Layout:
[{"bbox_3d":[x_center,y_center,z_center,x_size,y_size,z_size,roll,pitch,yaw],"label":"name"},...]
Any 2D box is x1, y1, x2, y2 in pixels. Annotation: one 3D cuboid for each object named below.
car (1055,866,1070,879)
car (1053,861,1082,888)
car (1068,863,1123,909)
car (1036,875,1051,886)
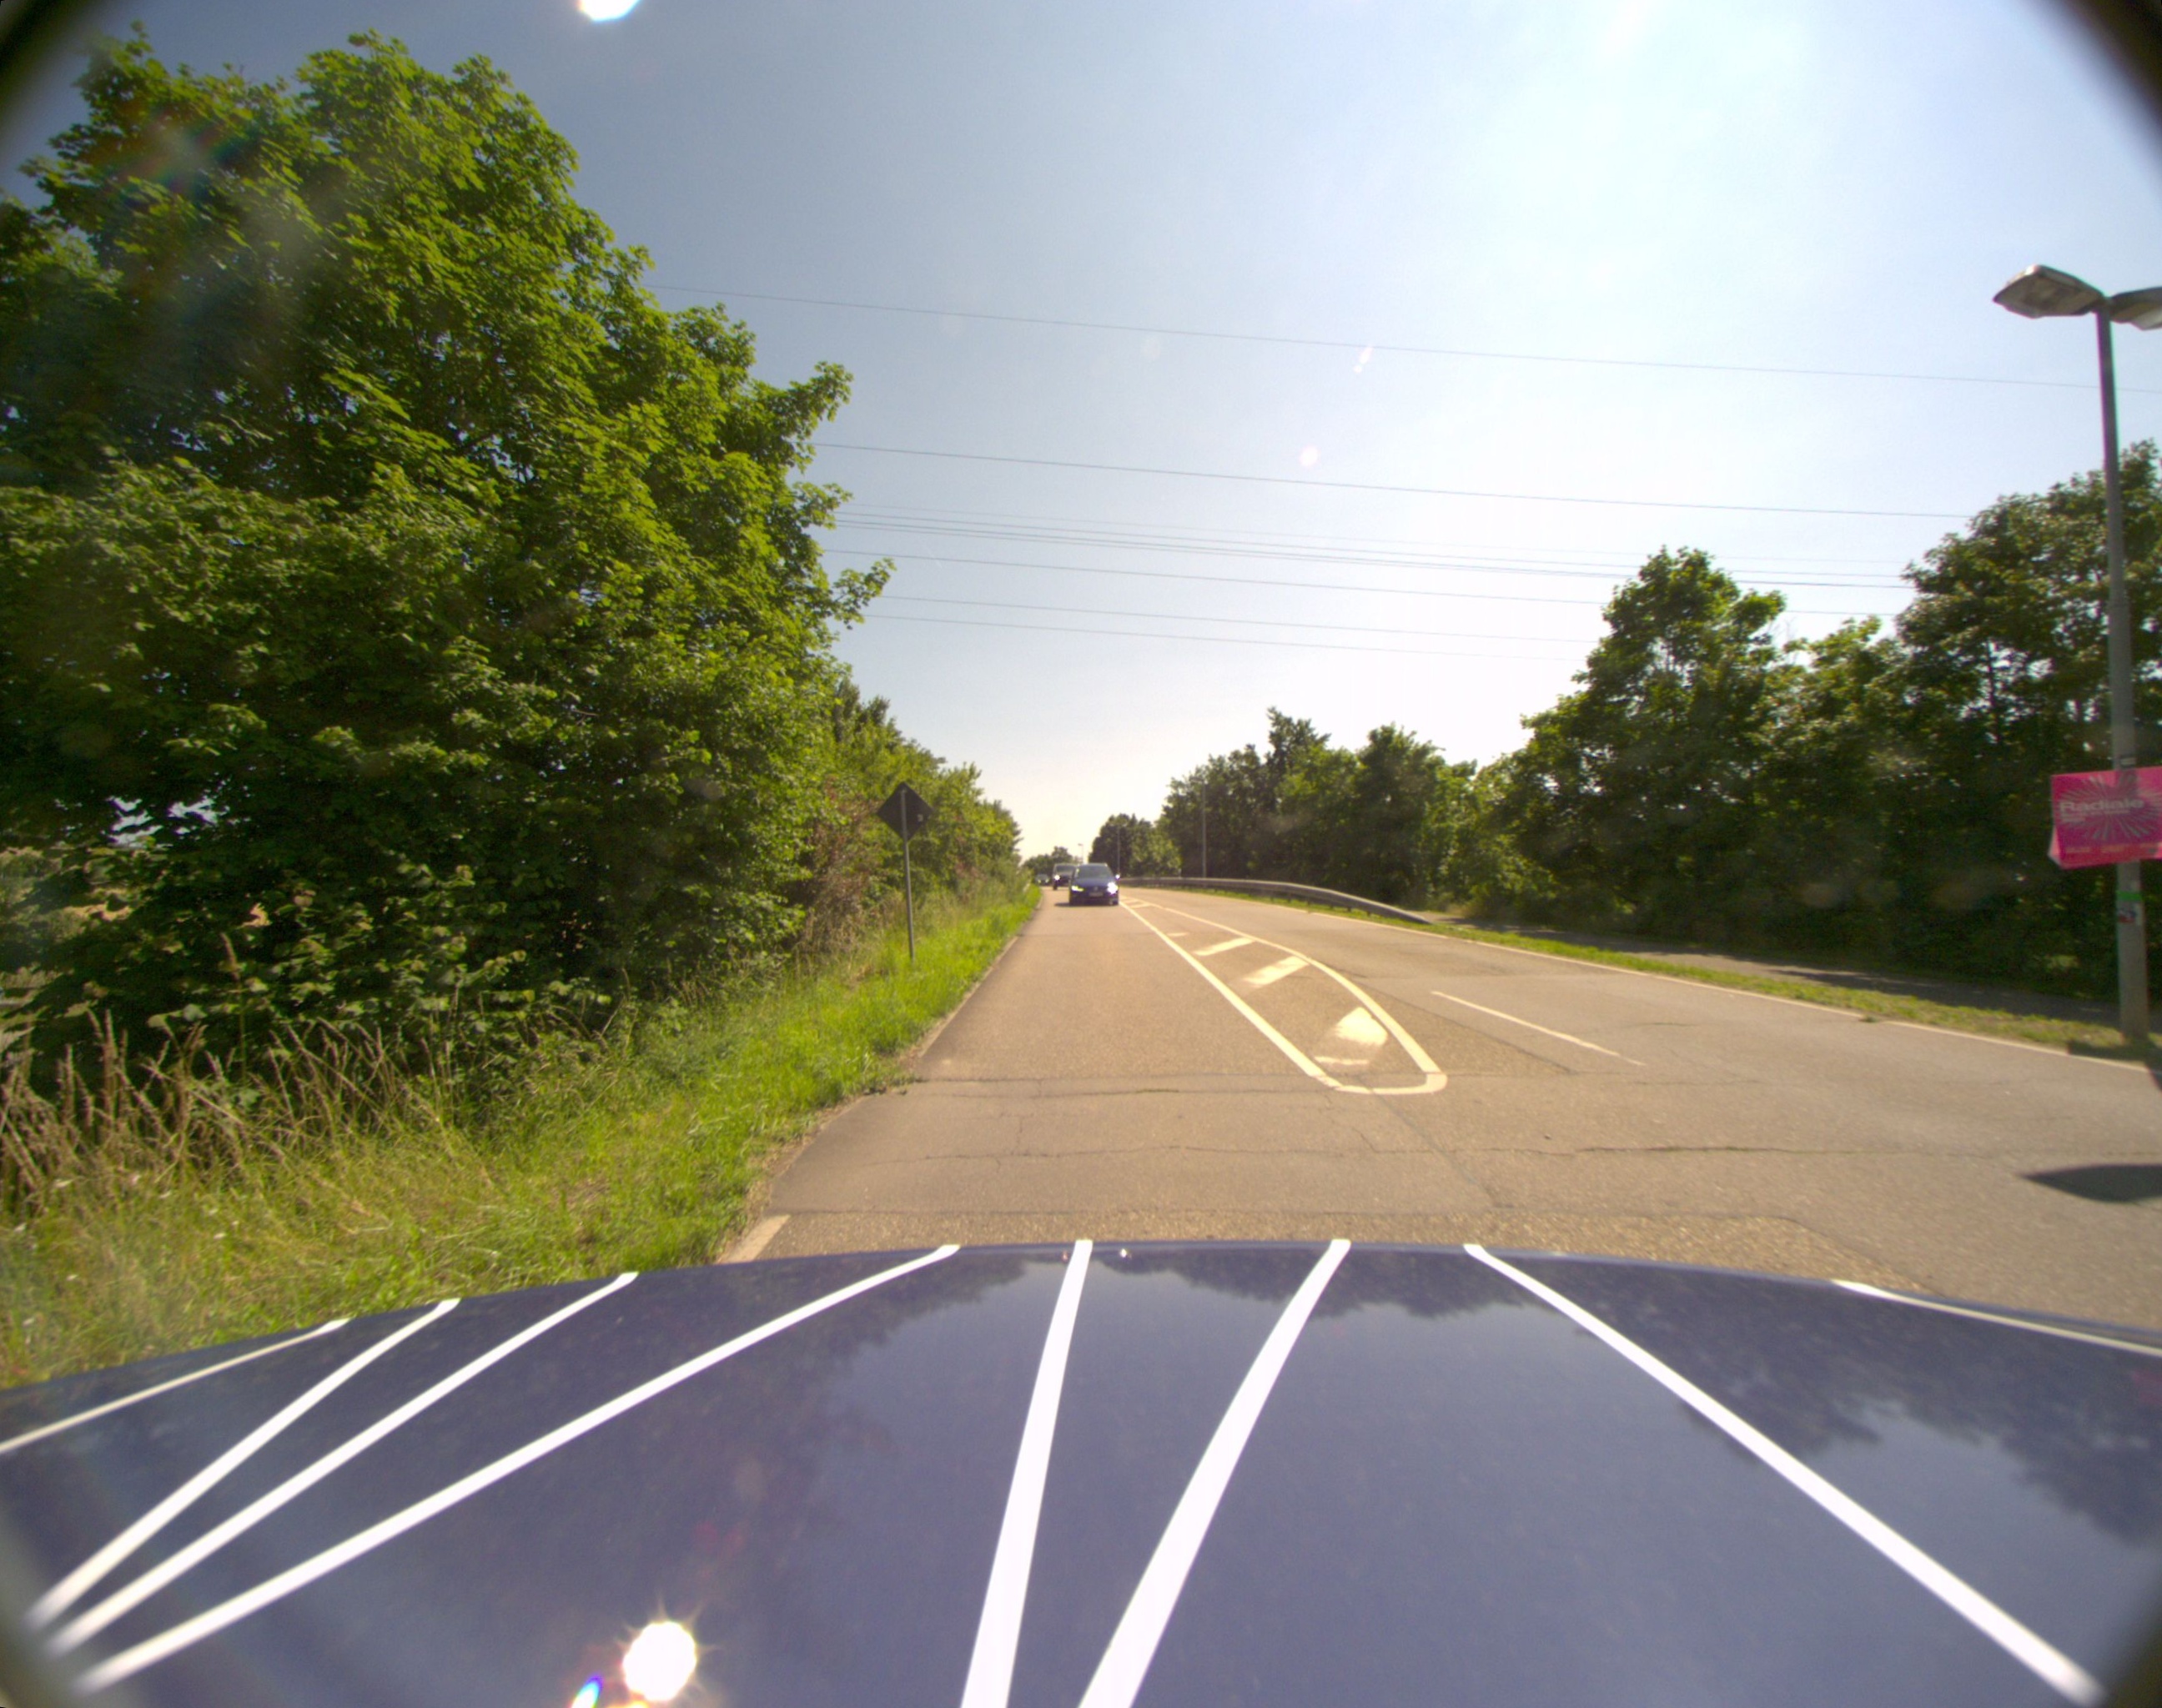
[{"bbox_3d":[-2.522,2.518,102.920,1.829,1.630,4.139,-2,0,-5],"label":"car"},{"bbox_3d":[-1.072,1.549,57.226,1.765,1.953,4.260,-2,-1,-6],"label":"car"},{"bbox_3d":[0.470,1.147,28.429,1.765,1.519,4.423,-2,-1,-2],"label":"car"},{"bbox_3d":[-5.102,3.610,104.248,1.765,1.529,3.683,-1,-1,-7],"label":"car"}]
